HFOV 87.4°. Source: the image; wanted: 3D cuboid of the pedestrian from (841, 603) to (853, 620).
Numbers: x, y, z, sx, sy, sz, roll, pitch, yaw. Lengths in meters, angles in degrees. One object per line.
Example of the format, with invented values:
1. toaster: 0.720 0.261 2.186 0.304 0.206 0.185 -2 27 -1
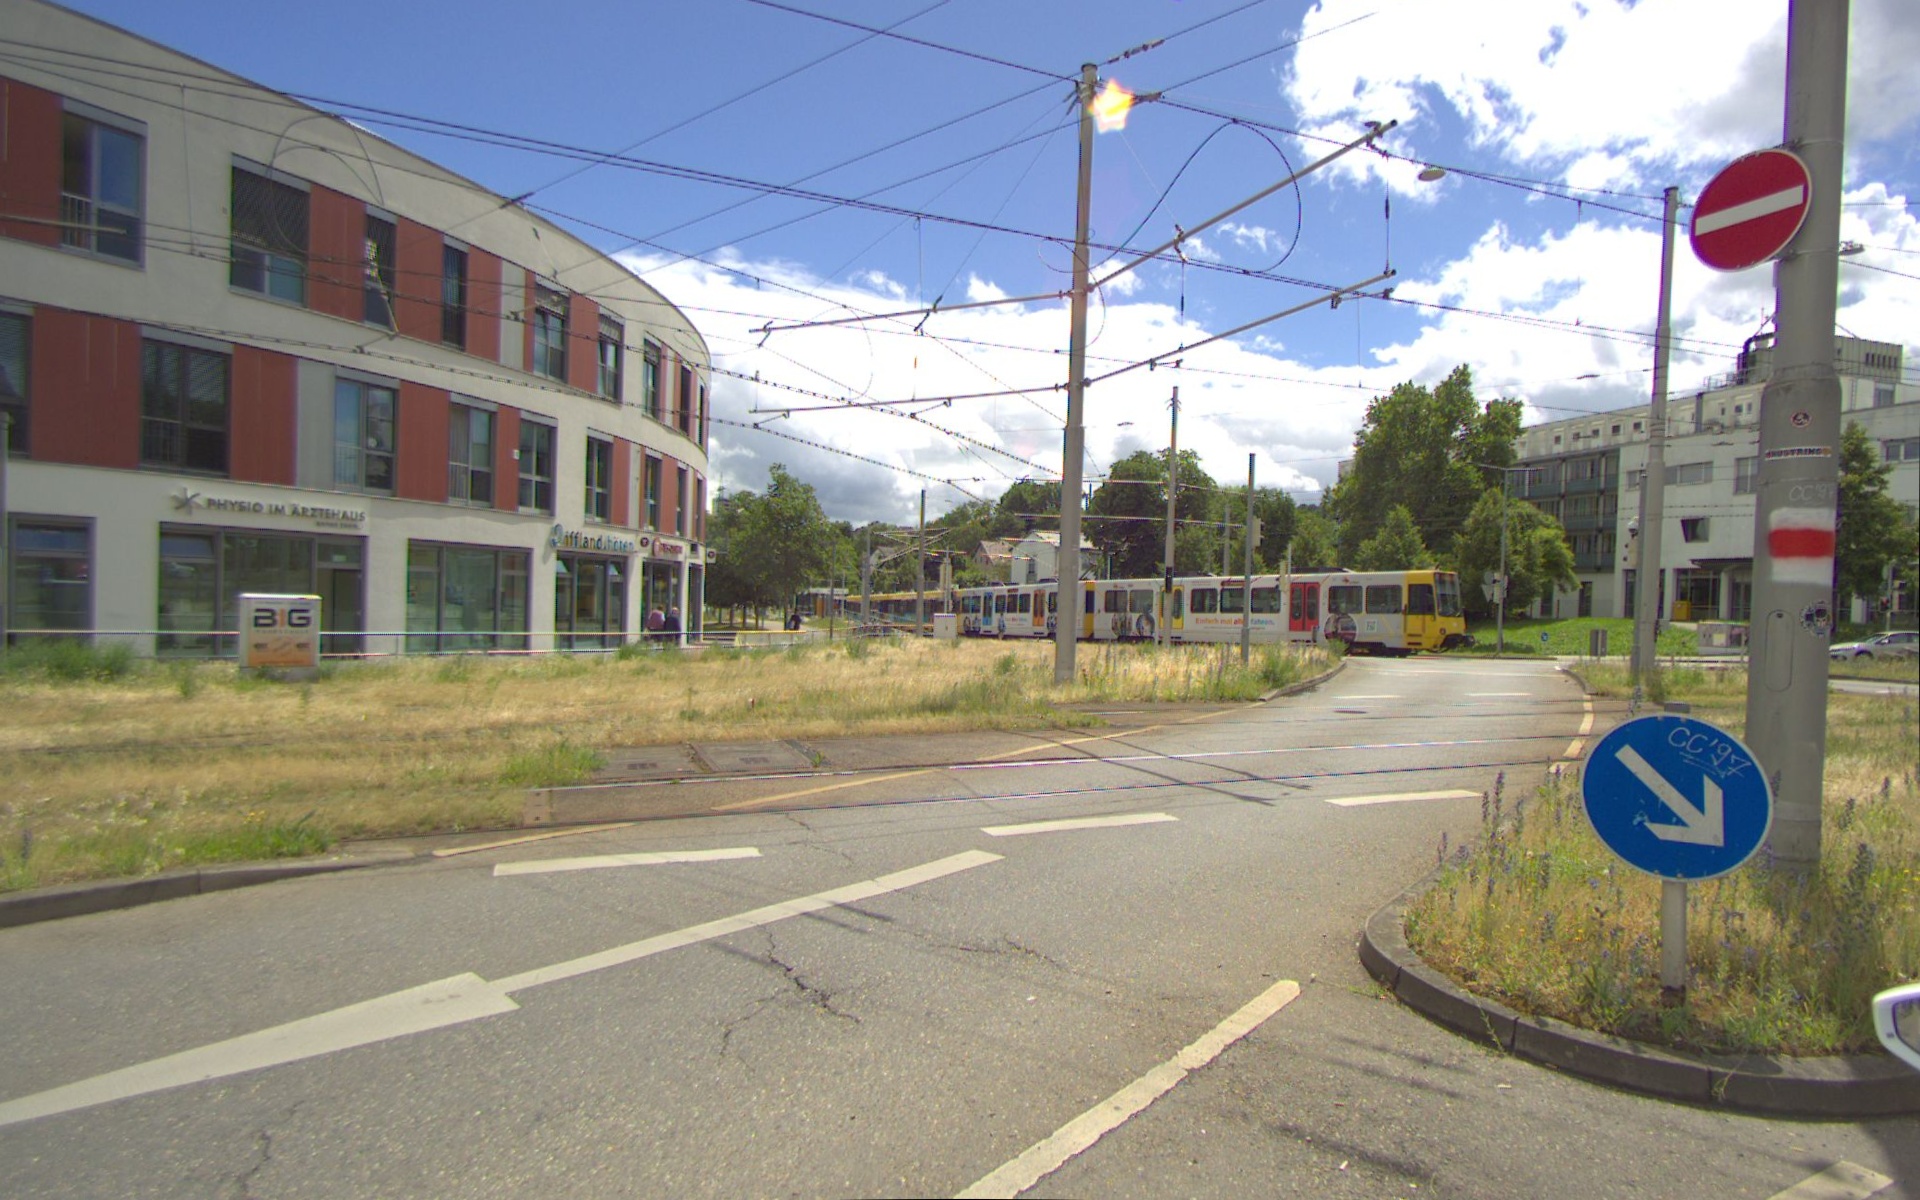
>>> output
1. pedestrian: -14.127 1.432 125.486 1.241 2.040 1.121 2 -1 -19

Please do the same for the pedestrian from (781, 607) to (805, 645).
1. pedestrian: -7.467 1.160 44.965 0.847 1.646 0.733 1 -1 7

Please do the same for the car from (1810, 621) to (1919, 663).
1. car: 37.238 1.706 40.531 4.086 1.606 1.860 1 -1 17

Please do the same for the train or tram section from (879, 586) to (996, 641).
1. train or tram section: -2.349 1.169 81.893 3.703 3.880 20.068 2 -2 -18

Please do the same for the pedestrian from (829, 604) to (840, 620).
1. pedestrian: -16.719 1.590 133.598 1.241 2.040 1.121 2 -1 -19

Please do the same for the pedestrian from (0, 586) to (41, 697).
1. pedestrian: -17.509 0.737 18.170 0.850 1.994 1.112 0 -2 36

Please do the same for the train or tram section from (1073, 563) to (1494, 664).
1. train or tram section: 13.800 0.631 46.989 3.731 3.864 19.819 3 -2 -40

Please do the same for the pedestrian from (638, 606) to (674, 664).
1. pedestrian: -10.810 1.249 35.734 0.847 1.994 1.106 1 -1 3

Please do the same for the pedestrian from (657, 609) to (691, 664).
1. pedestrian: -8.479 1.064 29.808 0.720 1.601 0.691 1 0 13

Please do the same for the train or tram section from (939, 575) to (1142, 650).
1. train or tram section: 4.238 0.847 63.603 3.708 3.930 20.521 2 -2 -23
